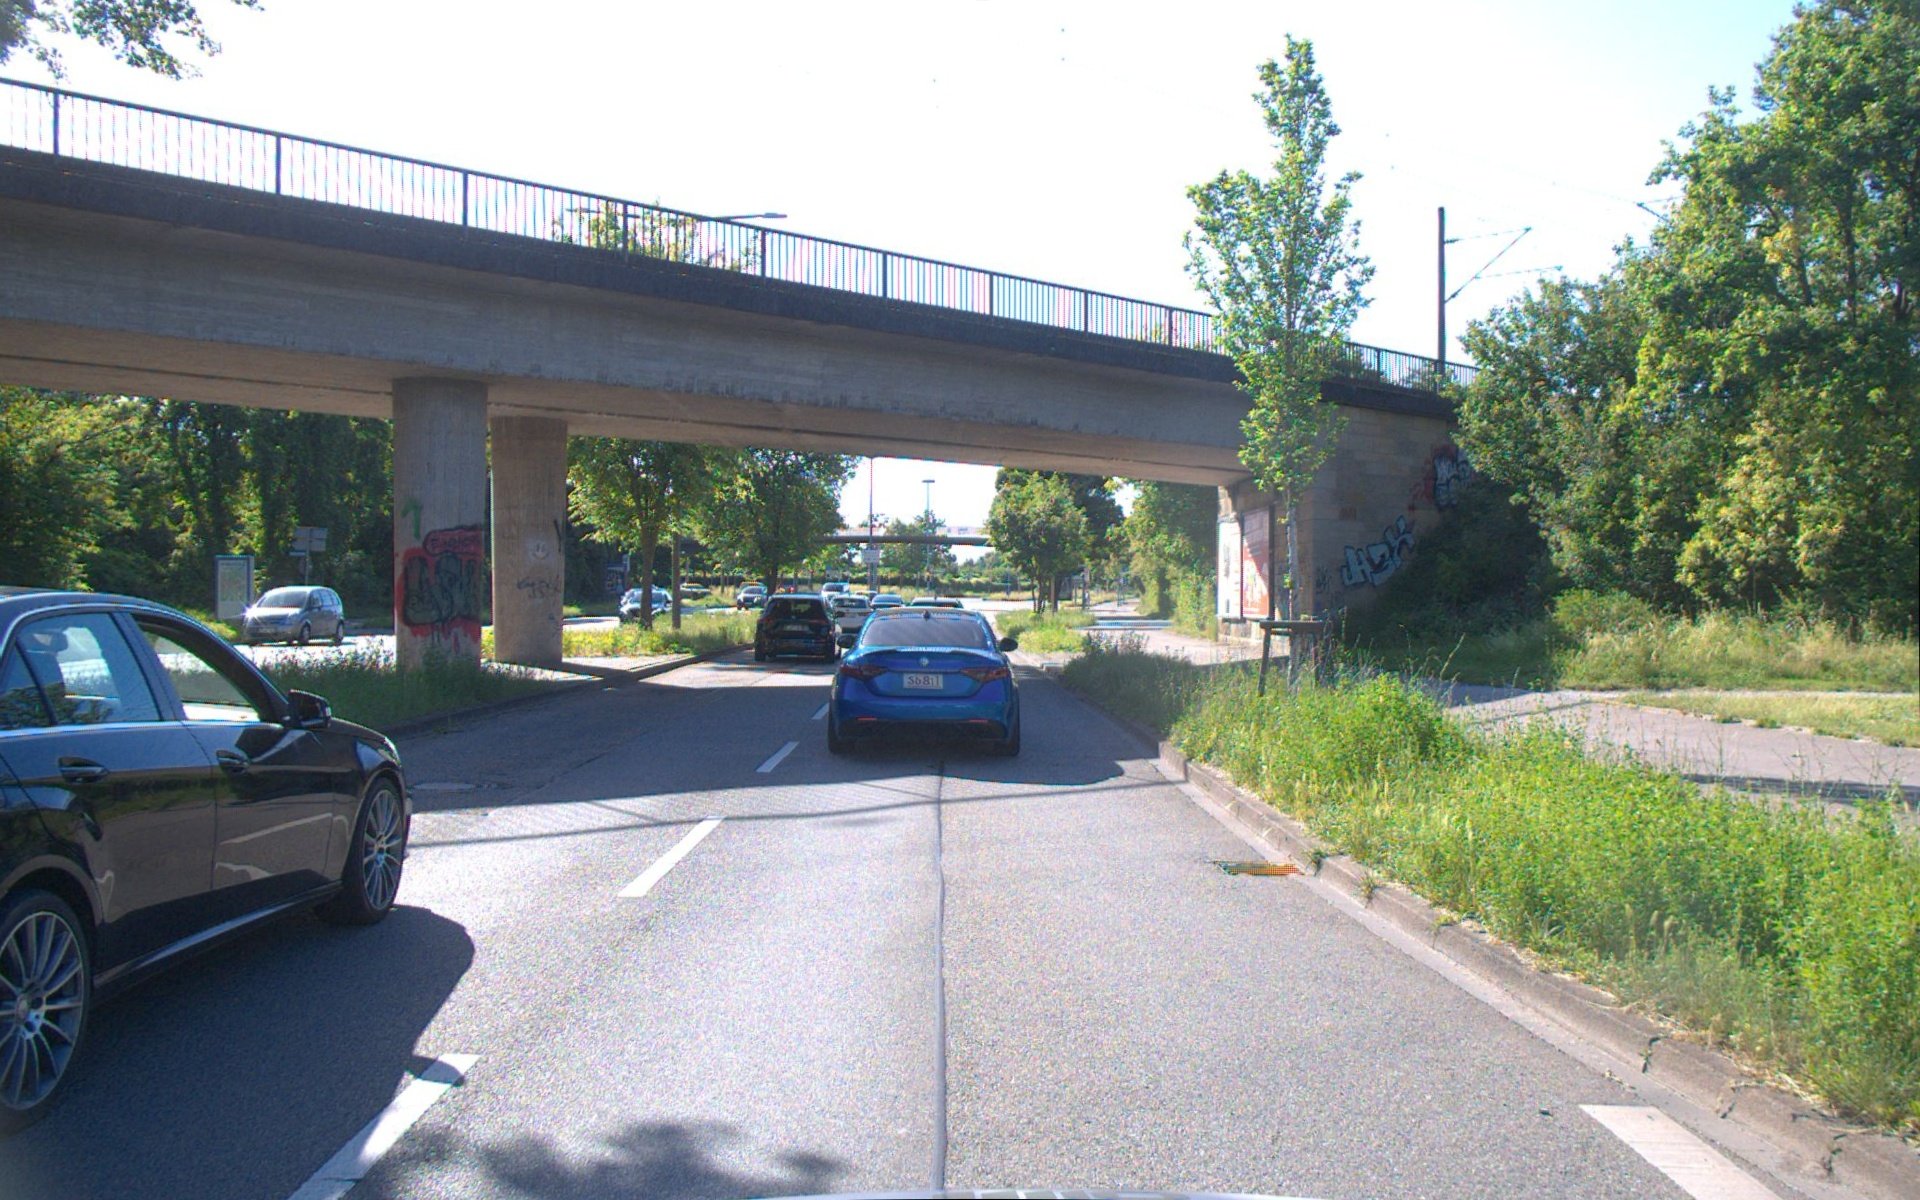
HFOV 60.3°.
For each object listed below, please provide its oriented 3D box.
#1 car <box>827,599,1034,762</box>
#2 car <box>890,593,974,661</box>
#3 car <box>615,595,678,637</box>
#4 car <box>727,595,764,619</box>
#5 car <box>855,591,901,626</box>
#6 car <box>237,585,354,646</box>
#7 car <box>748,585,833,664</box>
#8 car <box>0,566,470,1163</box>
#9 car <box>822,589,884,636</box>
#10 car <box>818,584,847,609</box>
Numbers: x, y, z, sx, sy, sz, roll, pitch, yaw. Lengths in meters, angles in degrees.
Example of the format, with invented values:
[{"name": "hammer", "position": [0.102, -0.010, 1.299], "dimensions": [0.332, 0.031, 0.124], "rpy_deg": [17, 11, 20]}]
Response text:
[{"name": "car", "position": [-0.290, 0.742, 17.205], "dimensions": [1.845, 1.431, 4.223], "rpy_deg": [2, 0, -1]}, {"name": "car", "position": [-0.651, 0.611, 39.421], "dimensions": [1.845, 1.479, 4.525], "rpy_deg": [2, 0, -1]}, {"name": "car", "position": [-12.672, 0.625, 67.090], "dimensions": [1.805, 1.570, 3.999], "rpy_deg": [-2, 0, -1]}, {"name": "car", "position": [-15.040, 0.478, 116.031], "dimensions": [1.942, 1.579, 4.592], "rpy_deg": [2, 0, 0]}, {"name": "car", "position": [-3.651, 0.391, 74.275], "dimensions": [1.845, 1.479, 4.525], "rpy_deg": [2, 0, -1]}, {"name": "car", "position": [-18.975, 0.422, 47.419], "dimensions": [1.694, 1.645, 4.179], "rpy_deg": [-1, 0, 0]}, {"name": "car", "position": [-3.764, 0.524, 37.312], "dimensions": [1.674, 1.626, 4.221], "rpy_deg": [2, 0, -3]}, {"name": "car", "position": [-3.375, 0.650, 5.642], "dimensions": [1.919, 1.509, 4.918], "rpy_deg": [1, 0, 0]}, {"name": "car", "position": [-3.653, 0.425, 56.887], "dimensions": [1.845, 1.479, 4.525], "rpy_deg": [2, 0, -1]}, {"name": "car", "position": [-10.097, -0.258, 131.395], "dimensions": [1.953, 1.963, 5.244], "rpy_deg": [1, 0, -1]}]
